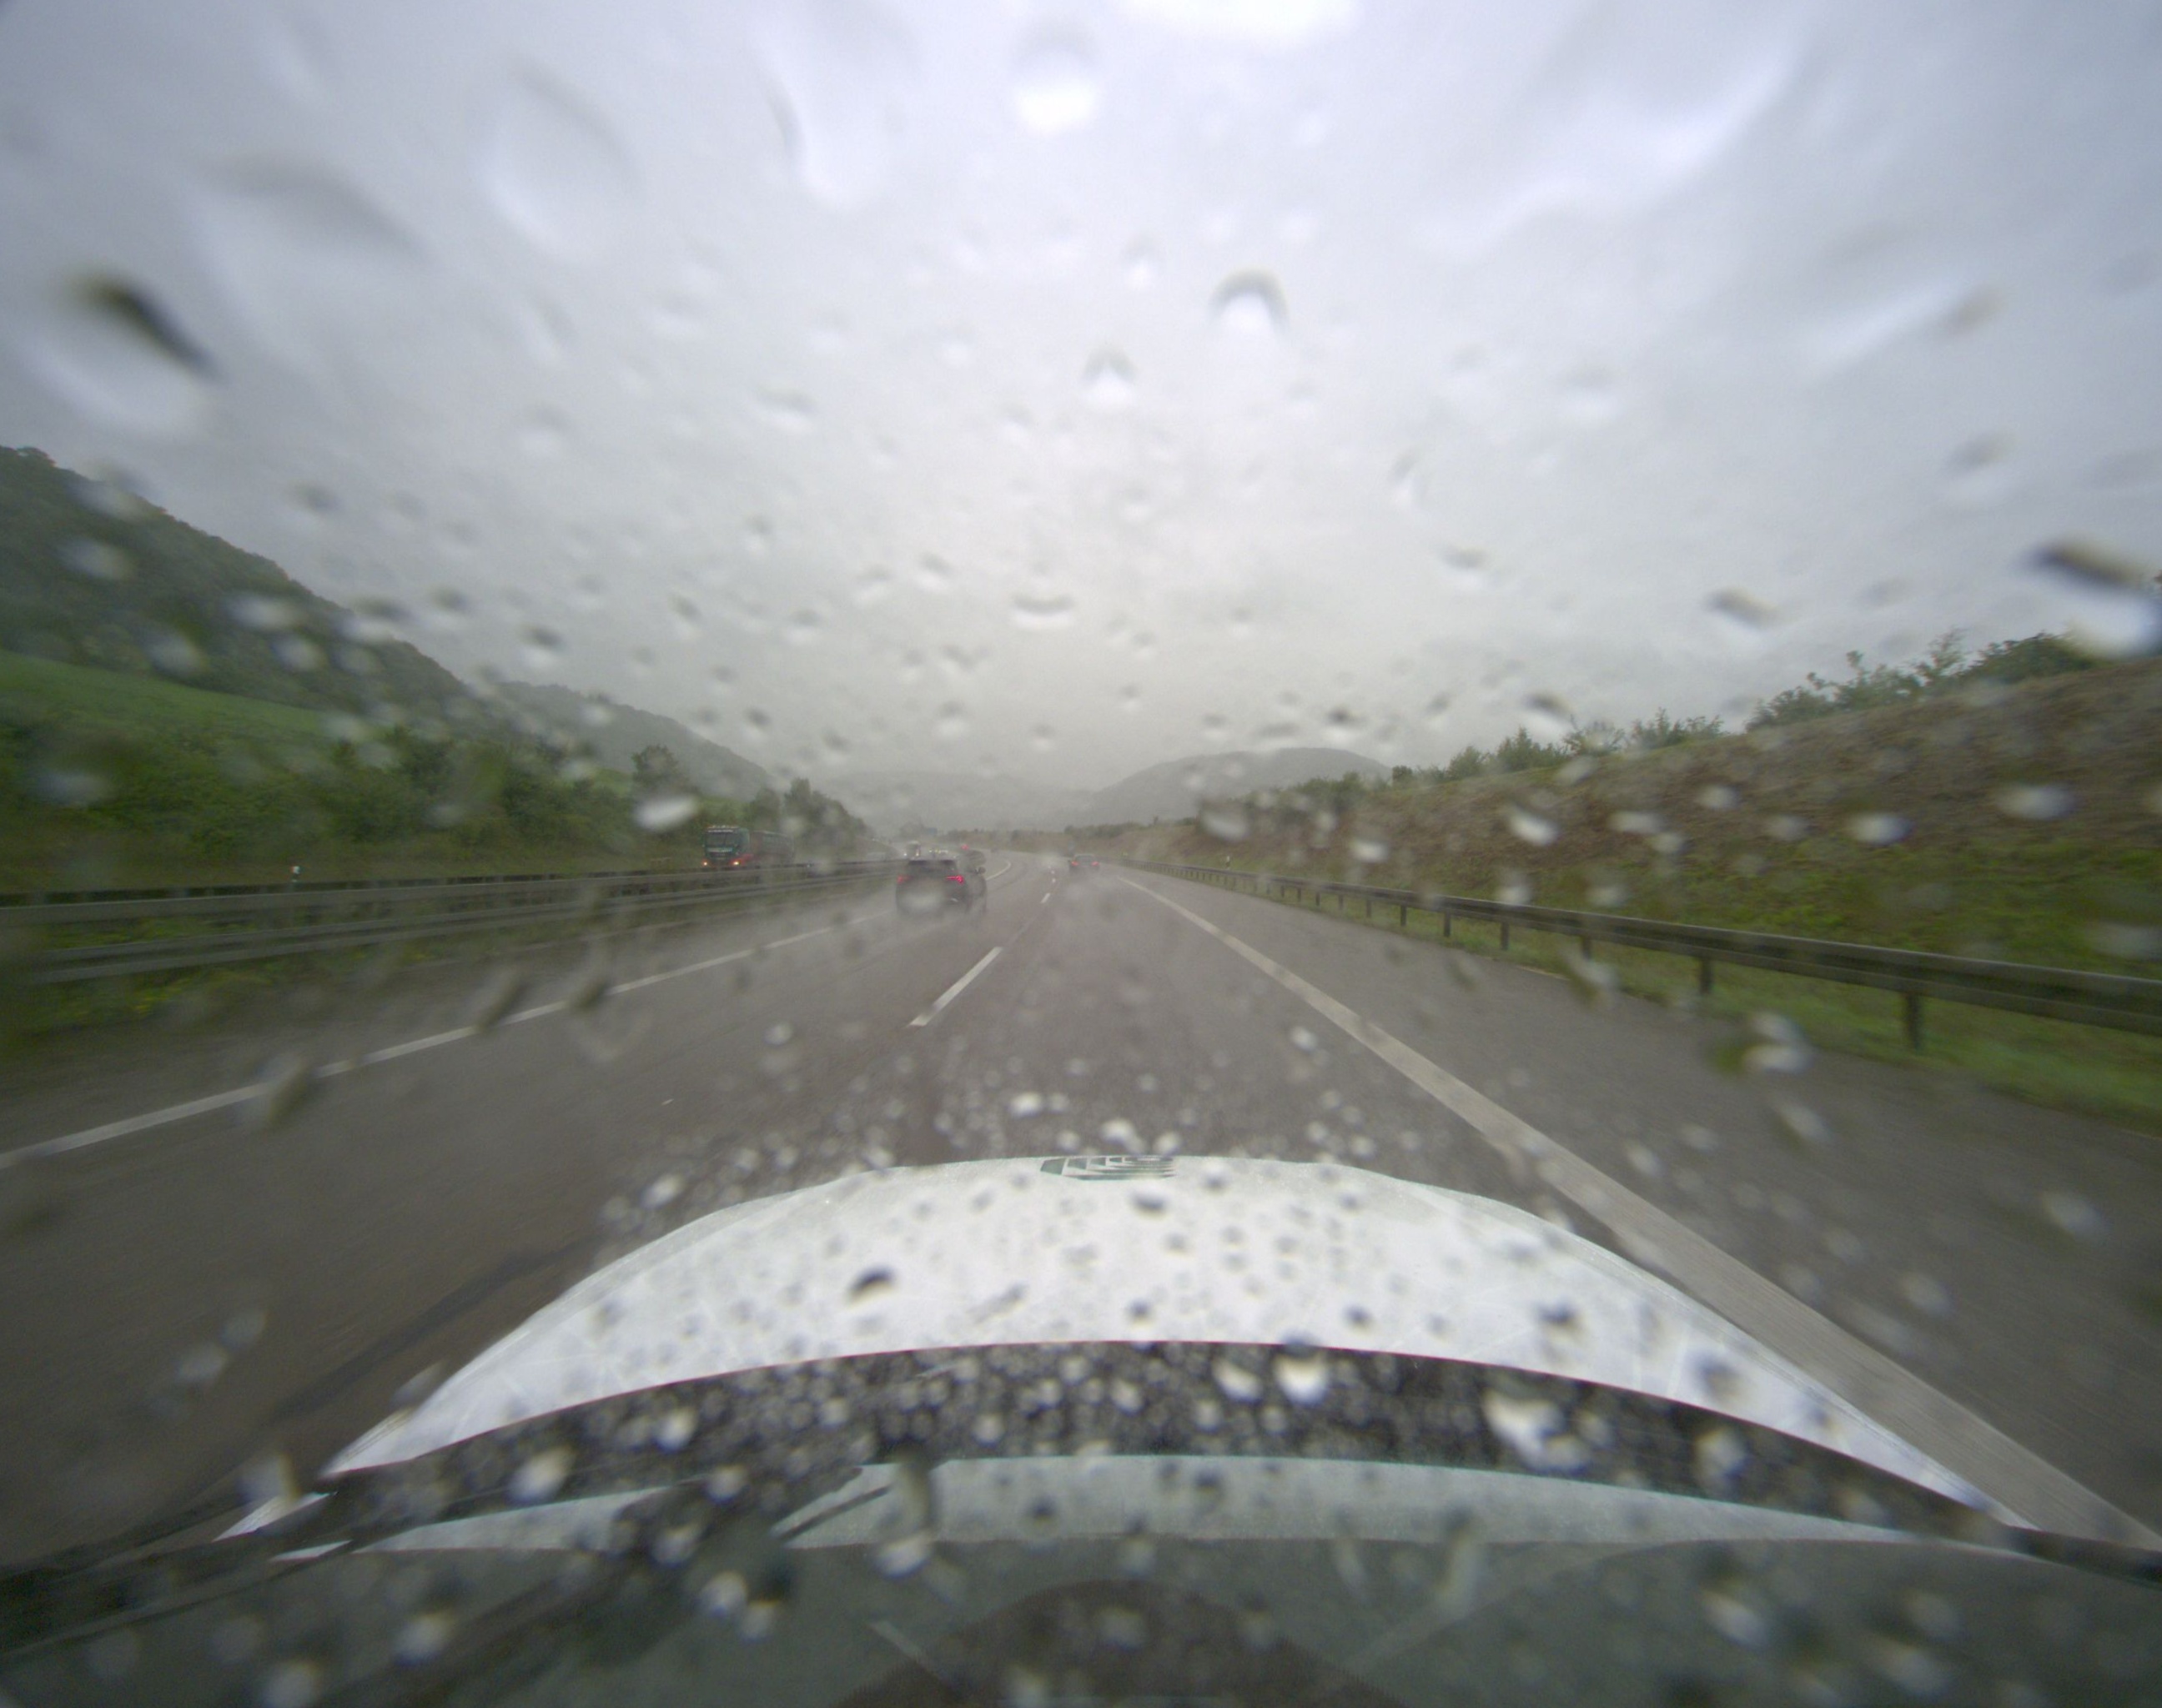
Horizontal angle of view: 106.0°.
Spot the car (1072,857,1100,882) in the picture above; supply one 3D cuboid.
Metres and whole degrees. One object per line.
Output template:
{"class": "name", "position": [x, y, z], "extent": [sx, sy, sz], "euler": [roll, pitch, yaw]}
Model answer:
{"class": "car", "position": [0.322, 0.912, 50.486], "extent": [1.673, 1.472, 3.814], "euler": [1, 0, 0]}

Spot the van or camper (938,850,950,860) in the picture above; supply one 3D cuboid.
{"class": "van or camper", "position": [-28.289, 0.227, 168.163], "extent": [1.990, 1.878, 5.337], "euler": [-1, 0, -5]}

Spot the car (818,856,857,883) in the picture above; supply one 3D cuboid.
{"class": "car", "position": [-18.999, 1.168, 63.734], "extent": [1.908, 2.013, 3.998], "euler": [0, 0, -1]}

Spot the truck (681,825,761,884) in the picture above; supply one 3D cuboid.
{"class": "truck", "position": [-22.858, 0.013, 51.950], "extent": [2.707, 3.542, 5.309], "euler": [0, 0, 0]}

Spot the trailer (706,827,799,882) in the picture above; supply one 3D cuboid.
{"class": "trailer", "position": [-22.855, 0.024, 57.325], "extent": [2.711, 3.491, 9.393], "euler": [0, 0, 0]}

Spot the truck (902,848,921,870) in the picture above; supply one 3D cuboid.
{"class": "truck", "position": [-30.816, 0.855, 148.215], "extent": [2.882, 3.802, 5.302], "euler": [-1, 0, -8]}

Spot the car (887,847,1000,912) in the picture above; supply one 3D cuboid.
{"class": "car", "position": [-3.499, 0.621, 21.750], "extent": [2.400, 1.515, 4.778], "euler": [1, 0, -3]}
